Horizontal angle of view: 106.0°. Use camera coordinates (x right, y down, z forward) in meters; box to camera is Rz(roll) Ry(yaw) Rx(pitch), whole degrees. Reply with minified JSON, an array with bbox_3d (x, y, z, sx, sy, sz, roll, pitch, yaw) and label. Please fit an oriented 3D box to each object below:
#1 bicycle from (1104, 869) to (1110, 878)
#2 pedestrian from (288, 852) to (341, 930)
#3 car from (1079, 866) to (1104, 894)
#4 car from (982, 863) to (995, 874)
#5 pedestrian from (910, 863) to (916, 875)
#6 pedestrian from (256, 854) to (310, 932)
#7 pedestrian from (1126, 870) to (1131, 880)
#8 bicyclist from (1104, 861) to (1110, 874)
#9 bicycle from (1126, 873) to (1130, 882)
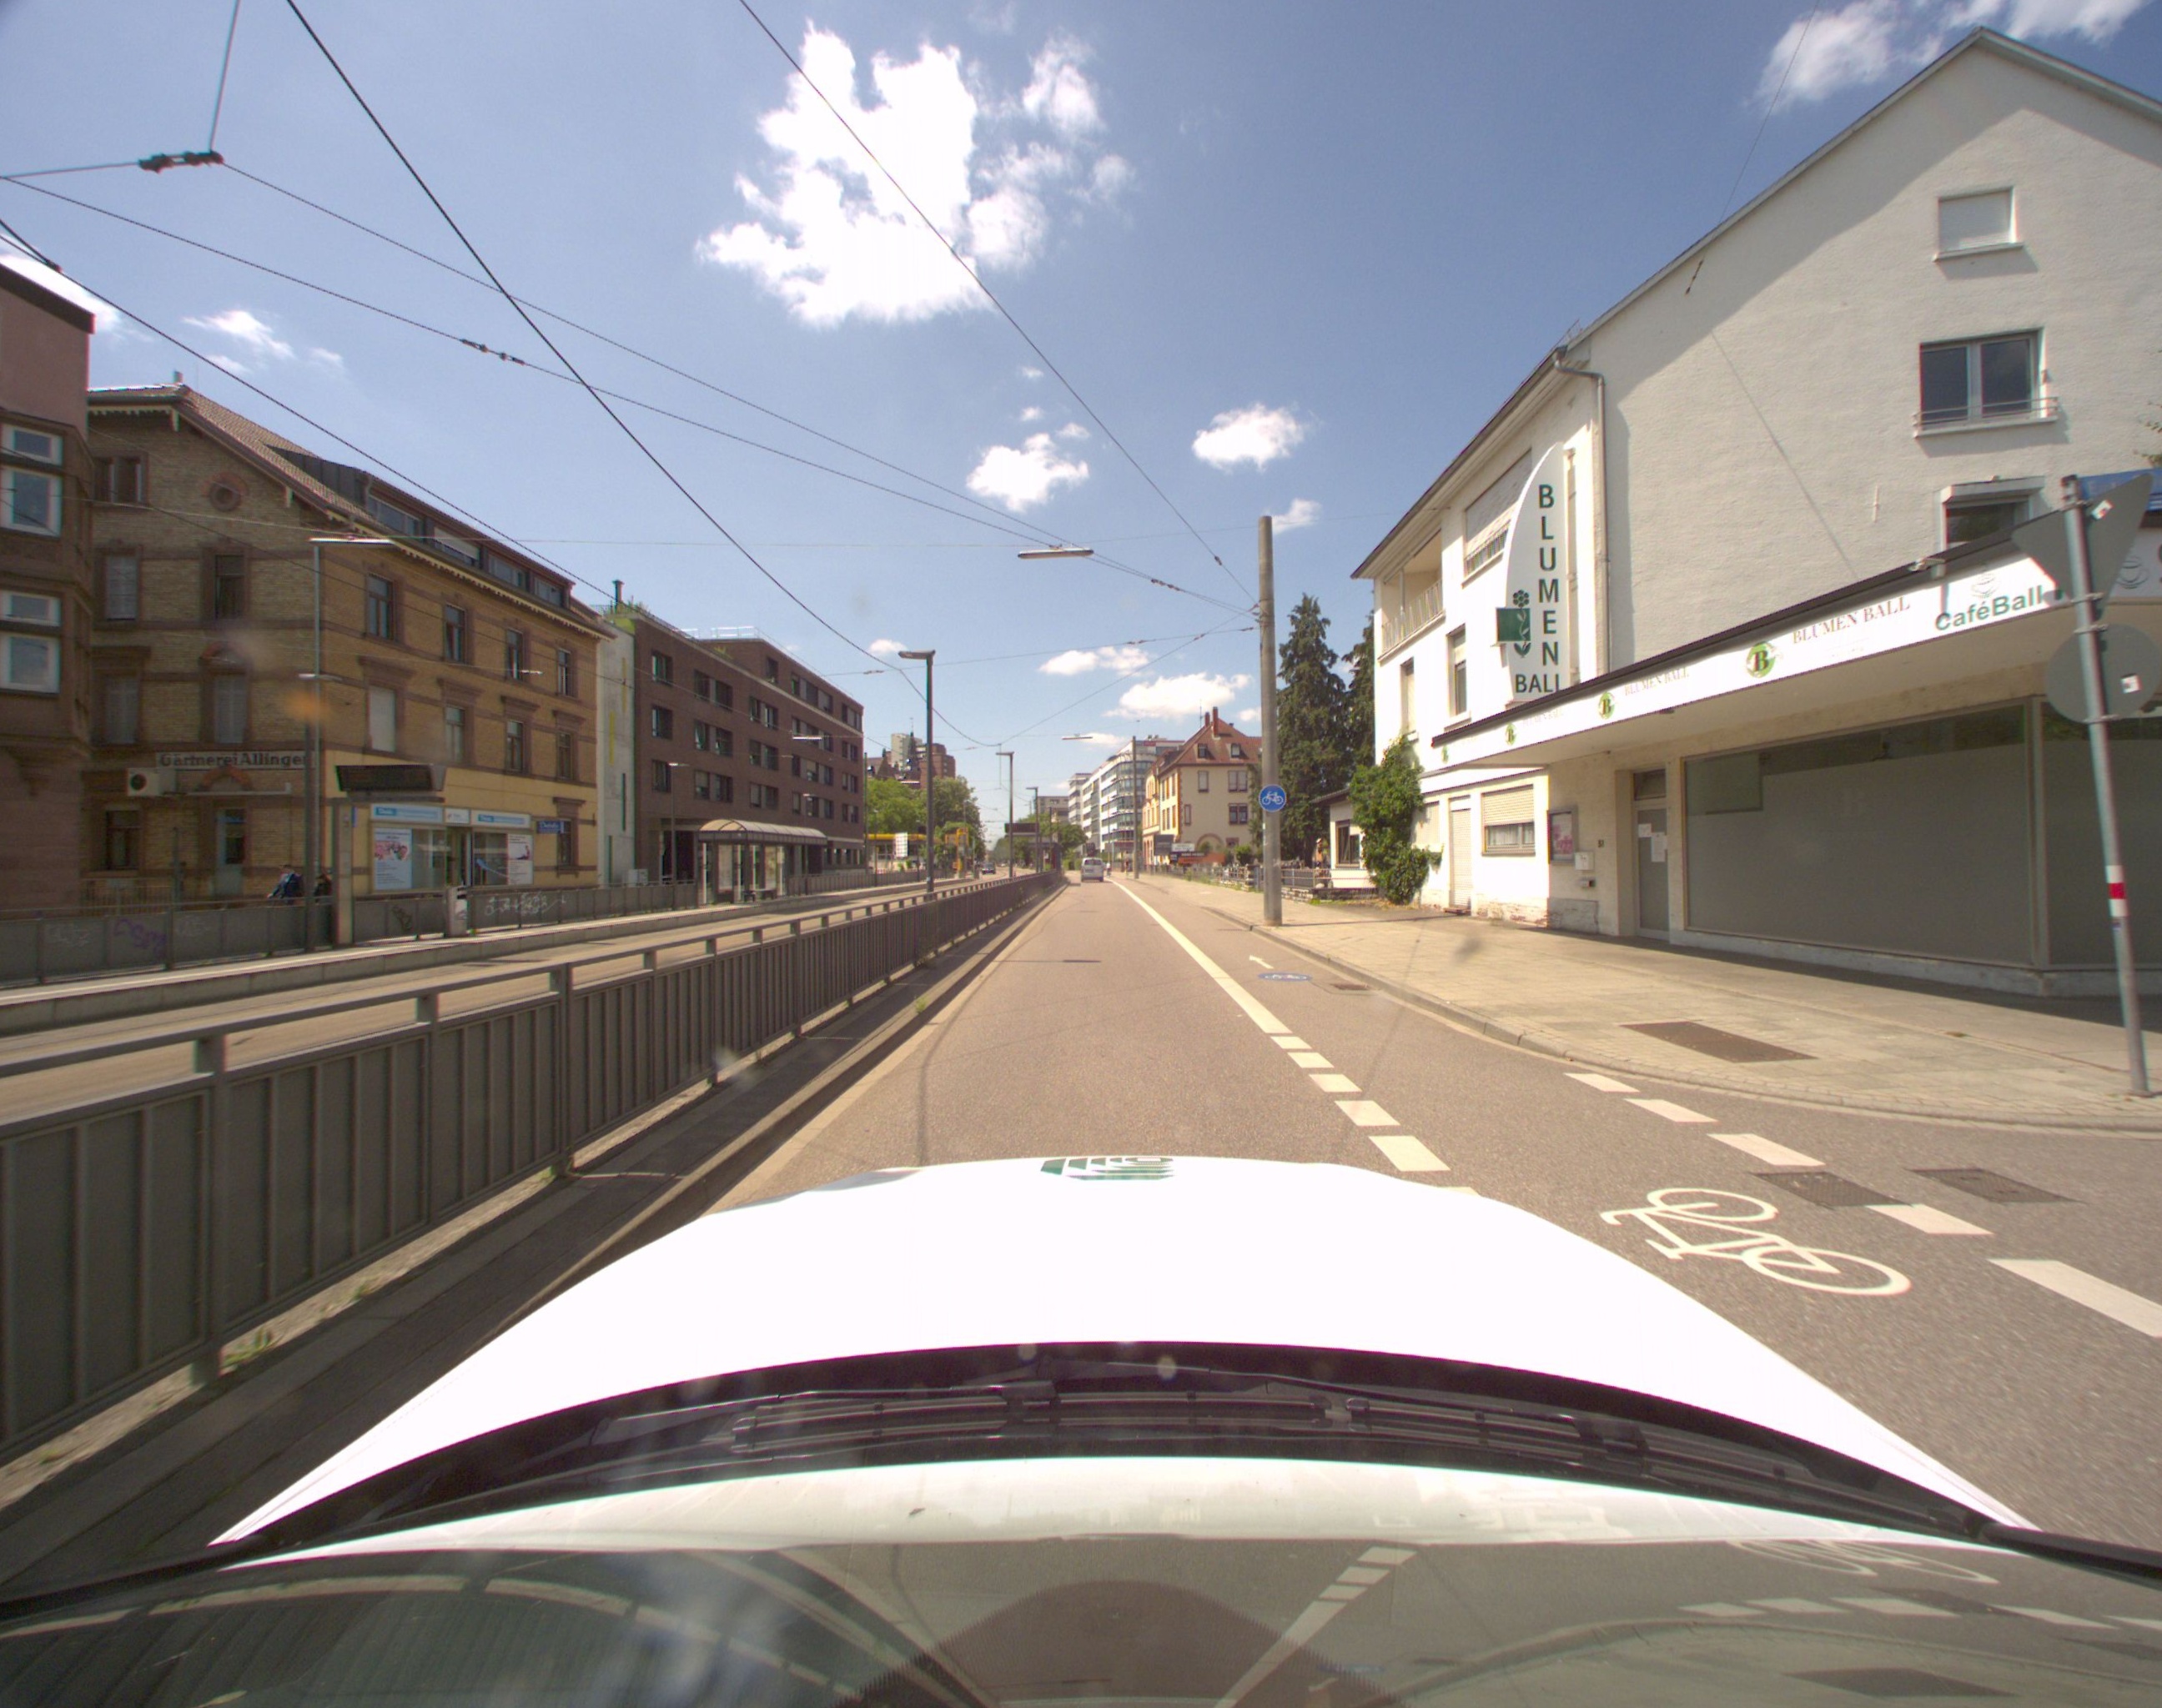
[{"bbox_3d":[2.740,2.059,85.523,0.465,0.887,2.045,0,-1,-3],"label":"bicycle"},{"bbox_3d":[-20.225,0.973,21.498,0.675,2.014,0.684,0,-2,-1],"label":"pedestrian"},{"bbox_3d":[0.791,1.970,62.955,1.747,2.014,3.998,-2,0,-1],"label":"car"},{"bbox_3d":[-13.974,2.236,123.063,1.695,1.616,3.753,0,-1,-3],"label":"car"},{"bbox_3d":[-23.011,2.028,111.568,0.551,1.658,0.672,0,-2,0],"label":"pedestrian"},{"bbox_3d":[-21.175,1.023,21.627,0.616,2.014,0.810,-1,-1,-1],"label":"pedestrian"},{"bbox_3d":[5.002,2.196,86.307,0.481,1.054,0.537,-3,-2,1],"label":"pedestrian"},{"bbox_3d":[2.753,1.391,85.363,0.590,1.397,0.840,0,-1,-4],"label":"bicyclist"},{"bbox_3d":[5.019,2.449,86.257,0.355,0.940,1.317,-3,-2,2],"label":"bicycle"}]
